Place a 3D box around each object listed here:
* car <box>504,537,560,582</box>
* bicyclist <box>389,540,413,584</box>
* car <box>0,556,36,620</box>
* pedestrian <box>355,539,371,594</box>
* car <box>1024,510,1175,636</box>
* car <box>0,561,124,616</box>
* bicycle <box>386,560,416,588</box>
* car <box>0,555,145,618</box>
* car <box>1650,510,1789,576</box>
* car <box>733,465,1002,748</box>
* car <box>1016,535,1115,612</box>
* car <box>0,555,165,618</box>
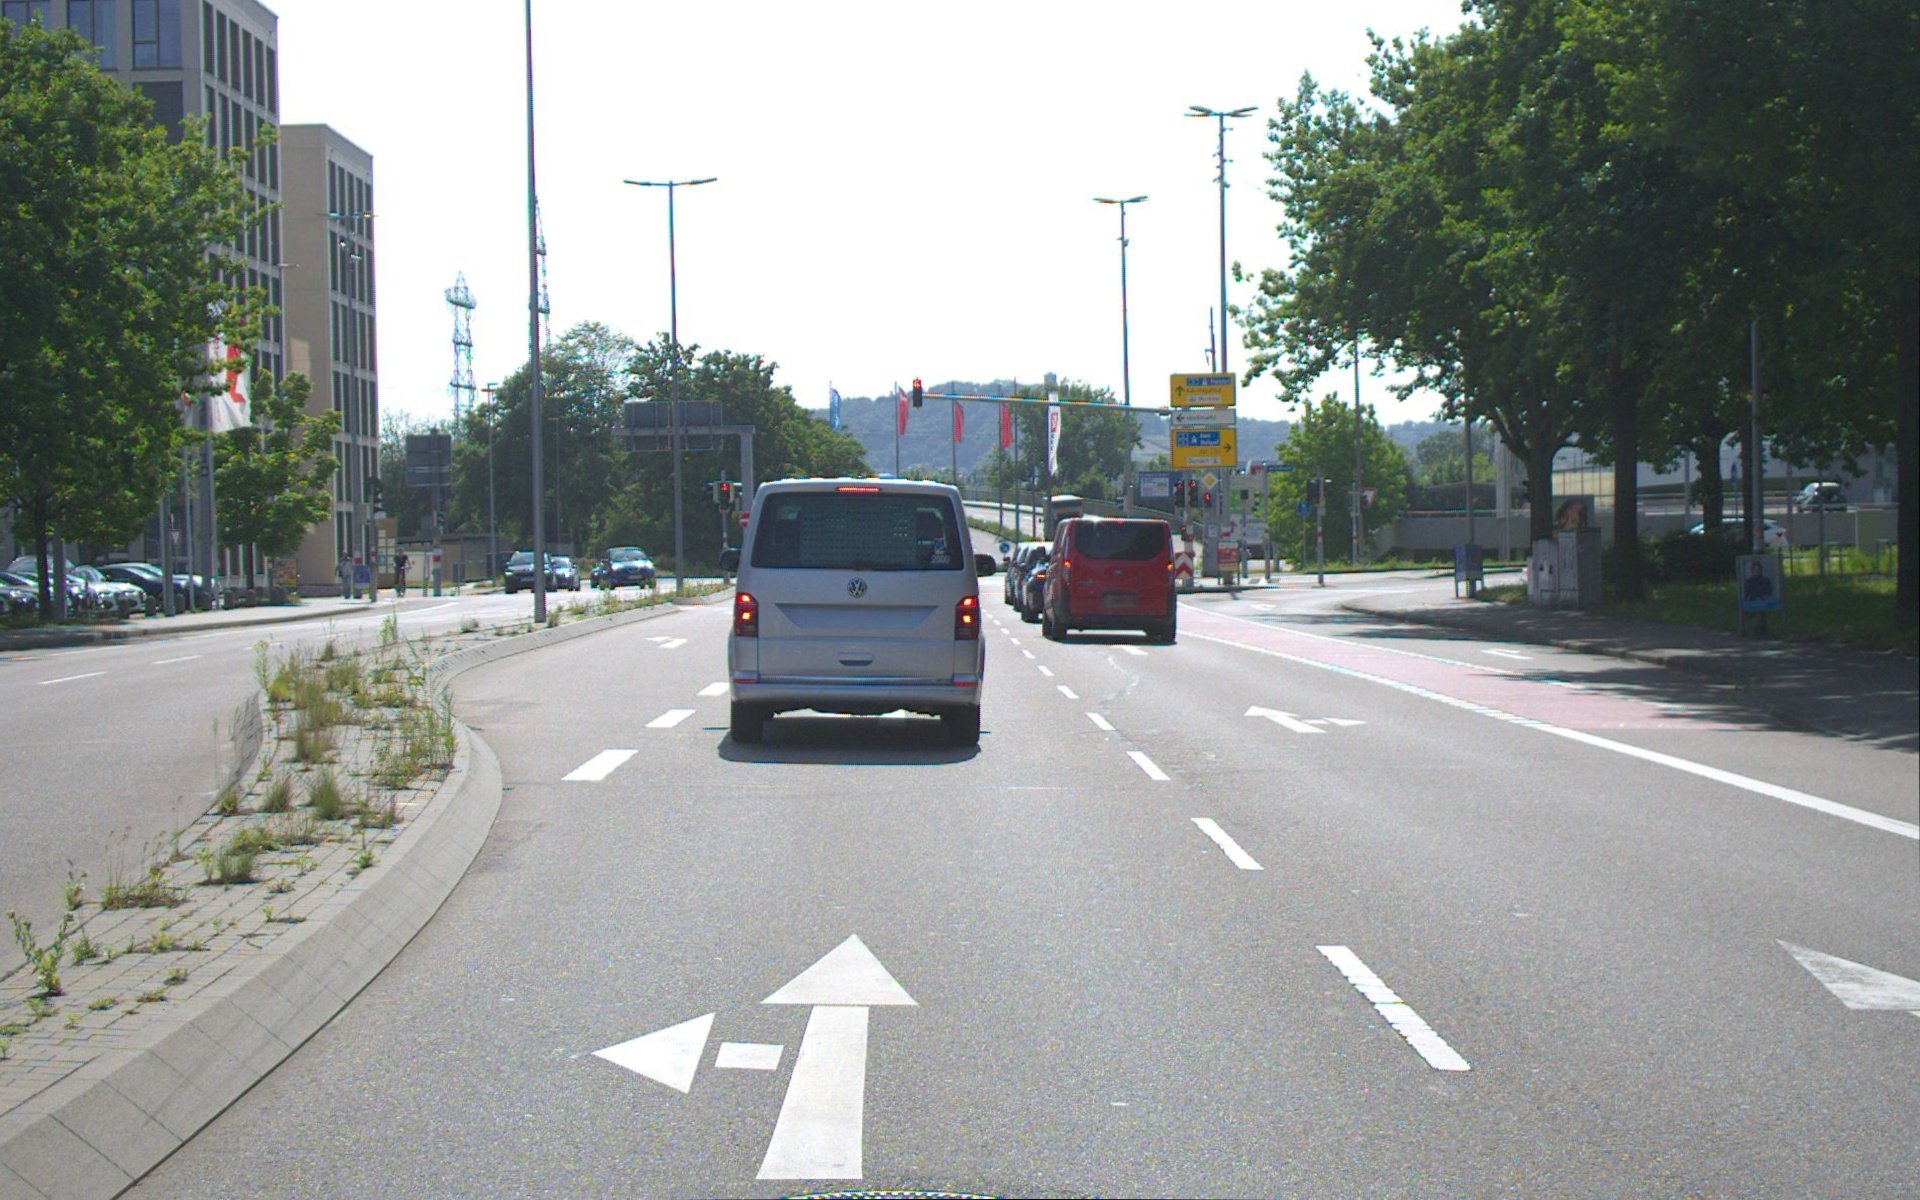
[{"bbox_3d":[-16.490,-1.567,132.671,1.738,1.613,4.210,-4,1,-3],"label":"car"},{"bbox_3d":[-19.537,-1.334,120.107,0.618,1.521,1.036,-2,1,0],"label":"bicyclist"},{"bbox_3d":[-23.574,-0.158,79.472,3.874,1.414,1.660,-4,1,3],"label":"car"},{"bbox_3d":[-21.701,-1.217,125.020,0.558,2.007,0.576,0,1,-9],"label":"pedestrian"},{"bbox_3d":[2.229,-0.468,56.288,1.967,1.961,5.126,0,1,-3],"label":"car"},{"bbox_3d":[-23.206,-0.249,86.280,3.874,1.162,1.911,-4,1,3],"label":"car"},{"bbox_3d":[-19.512,-0.900,119.975,0.680,0.937,1.973,-2,1,0],"label":"bicycle"},{"bbox_3d":[-23.351,-0.334,89.106,3.874,1.329,1.848,-4,1,3],"label":"car"},{"bbox_3d":[25.990,-1.952,117.737,4.402,1.987,1.481,-3,1,4],"label":"car"},{"bbox_3d":[-0.675,0.009,26.298,1.884,1.983,4.000,0,1,-1],"label":"car"},{"bbox_3d":[2.062,-0.549,67.968,1.746,1.453,4.476,0,1,-1],"label":"car"},{"bbox_3d":[-23.441,-0.363,91.777,3.874,1.360,1.749,-4,1,3],"label":"car"}]
